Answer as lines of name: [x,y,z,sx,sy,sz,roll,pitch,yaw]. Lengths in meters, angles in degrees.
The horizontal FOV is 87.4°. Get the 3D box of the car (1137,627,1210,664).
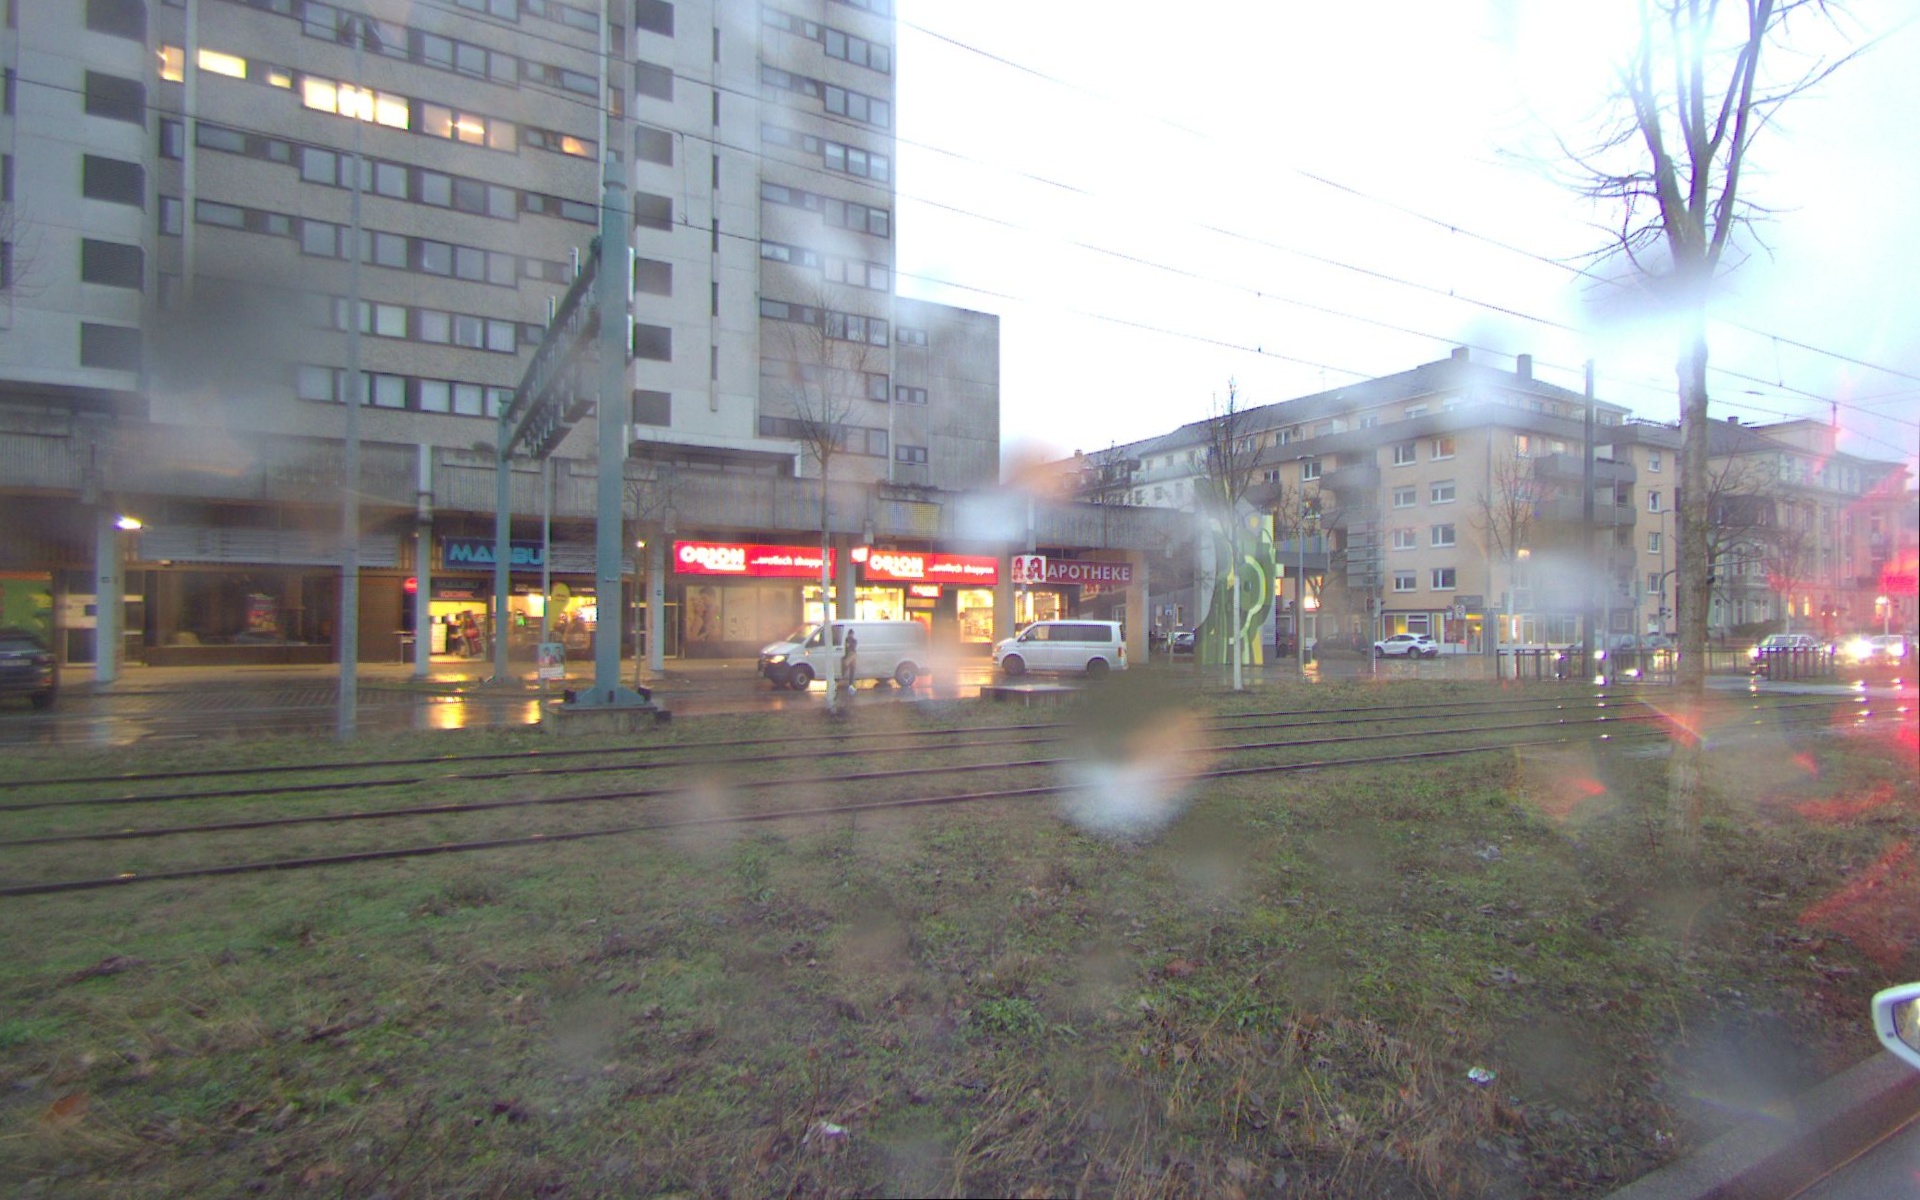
car: [12.383,2.624,58.169,3.830,2.040,1.884,2,0,-31]

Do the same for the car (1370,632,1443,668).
car: [27.827,3.083,62.649,1.825,1.968,3.720,1,0,-37]

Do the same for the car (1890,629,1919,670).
car: [40.757,2.084,41.811,3.954,1.623,1.983,2,0,-31]

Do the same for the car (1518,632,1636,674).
car: [22.263,1.883,36.217,4.265,1.350,1.850,2,0,-30]

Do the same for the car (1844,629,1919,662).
car: [47.751,2.342,52.014,3.953,1.598,1.858,1,-1,-30]

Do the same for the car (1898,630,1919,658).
car: [58.181,2.674,60.071,3.952,1.623,1.941,2,0,-30]

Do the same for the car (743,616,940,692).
car: [-3.511,1.582,29.972,5.490,2.073,1.987,2,0,-26]

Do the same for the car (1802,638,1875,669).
car: [50.146,3.008,57.298,3.952,1.623,1.941,2,0,-30]

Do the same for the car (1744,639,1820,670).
car: [36.968,2.435,45.144,4.108,1.294,1.679,2,-2,-36]

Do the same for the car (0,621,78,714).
car: [-20.782,1.370,21.184,4.067,1.715,1.982,2,0,28]

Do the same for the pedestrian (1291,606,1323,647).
pedestrian: [17.419,1.314,50.420,1.253,2.040,1.004,-1,-1,37]

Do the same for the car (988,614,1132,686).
car: [3.542,1.704,35.366,4.734,2.274,2.001,2,0,15]
